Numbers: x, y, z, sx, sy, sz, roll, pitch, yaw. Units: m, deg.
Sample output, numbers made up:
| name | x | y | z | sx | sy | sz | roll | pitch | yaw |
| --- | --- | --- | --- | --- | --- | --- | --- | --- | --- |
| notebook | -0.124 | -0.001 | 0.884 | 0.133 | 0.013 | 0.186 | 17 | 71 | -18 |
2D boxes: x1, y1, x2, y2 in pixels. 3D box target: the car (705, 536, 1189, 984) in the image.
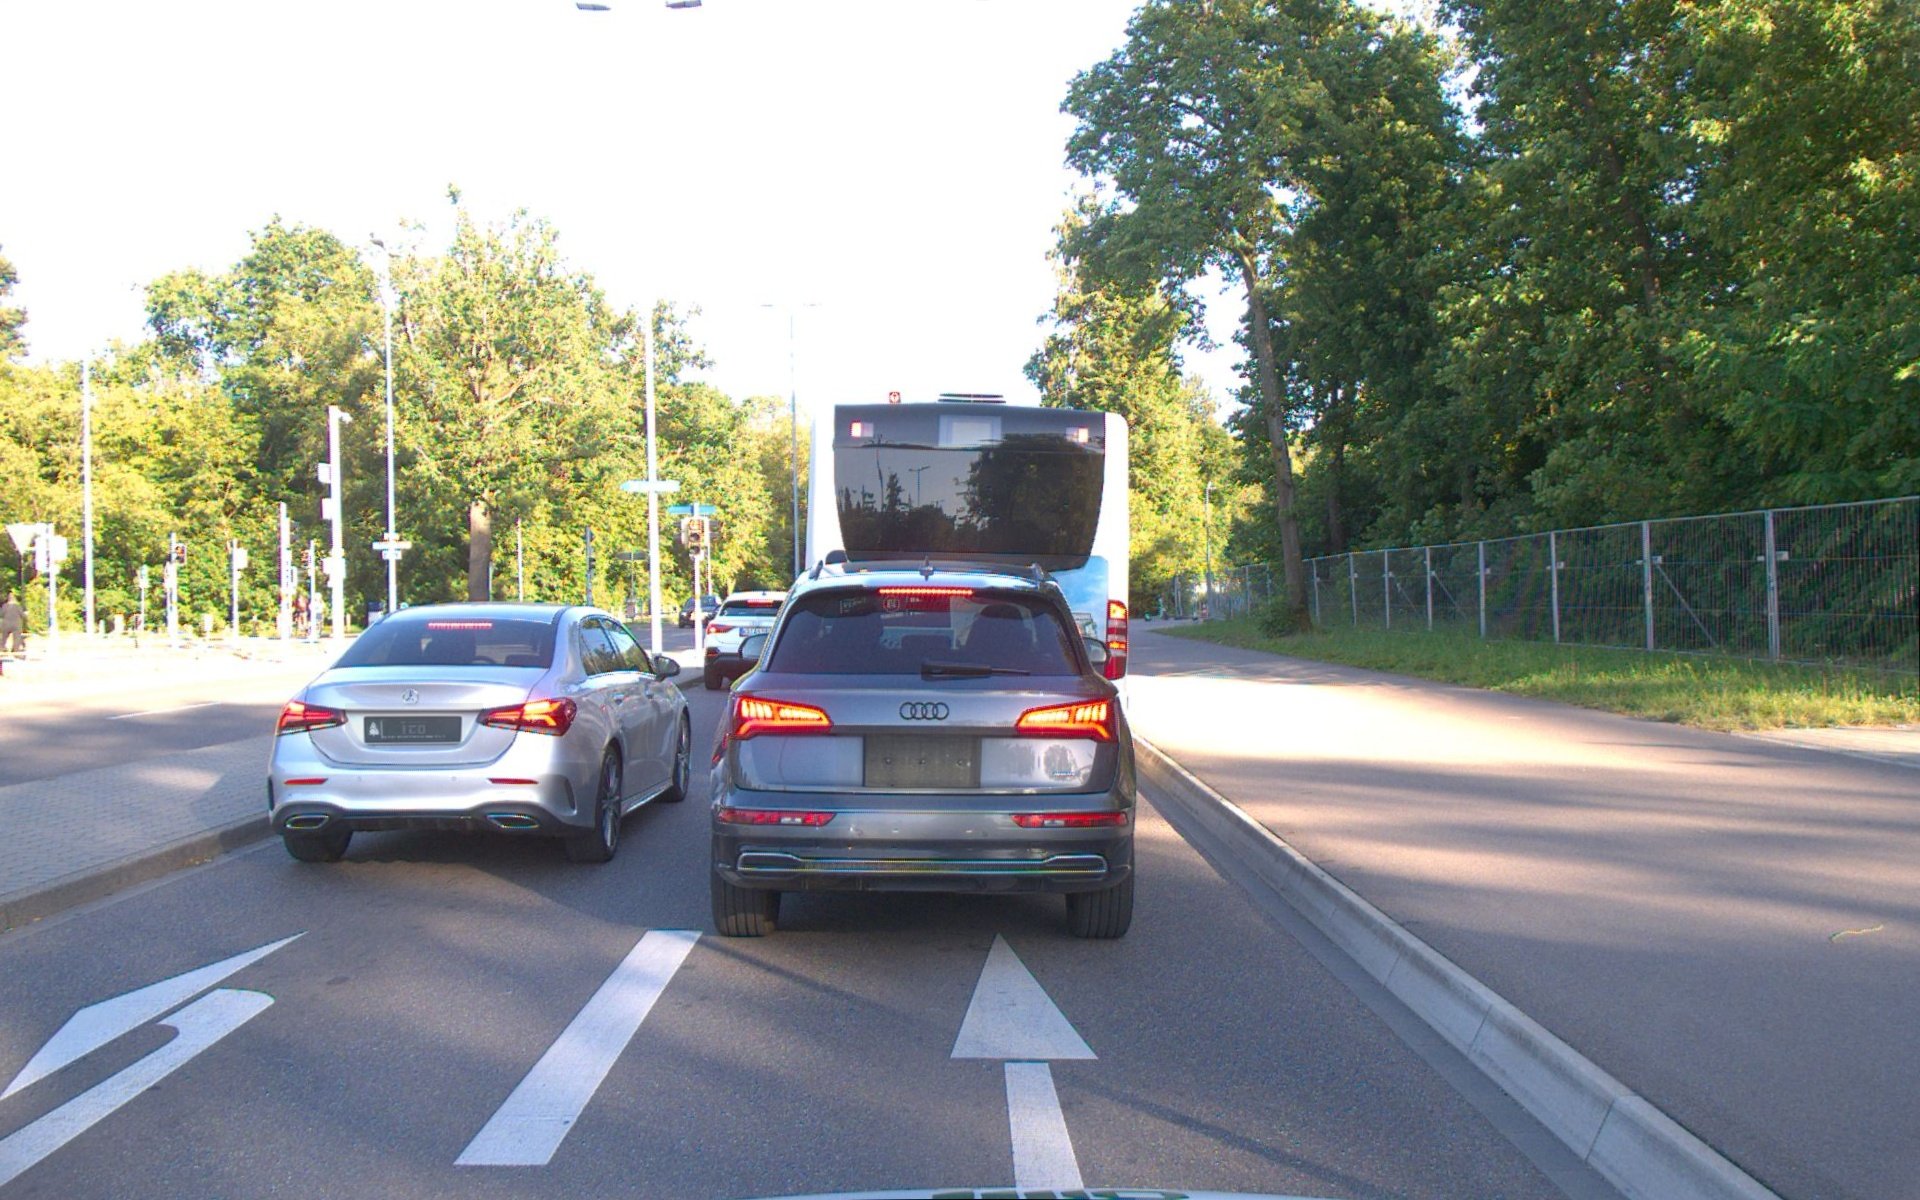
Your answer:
| name | x | y | z | sx | sy | sz | roll | pitch | yaw |
| --- | --- | --- | --- | --- | --- | --- | --- | --- | --- |
| car | -0.075 | 0.590 | 8.341 | 1.830 | 1.693 | 4.000 | 1 | 1 | -1 |

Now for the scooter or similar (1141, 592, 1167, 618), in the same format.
| name | x | y | z | sx | sy | sz | roll | pitch | yaw |
| --- | --- | --- | --- | --- | --- | --- | --- | --- | --- |
| scooter or similar | 9.150 | 0.240 | 78.089 | 1.158 | 1.195 | 0.659 | 1 | 0 | 10 |

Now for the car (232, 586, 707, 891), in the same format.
| name | x | y | z | sx | sy | sz | roll | pitch | yaw |
| --- | --- | --- | --- | --- | --- | --- | --- | --- | --- |
| car | -2.765 | 0.672 | 10.364 | 1.749 | 1.469 | 4.277 | 1 | 1 | -1 |

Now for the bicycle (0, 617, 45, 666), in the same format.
| name | x | y | z | sx | sy | sz | roll | pitch | yaw |
| --- | --- | --- | --- | --- | --- | --- | --- | --- | --- |
| bicycle | -24.139 | 1.040 | 42.220 | 0.458 | 1.198 | 2.003 | 1 | 0 | -1 |

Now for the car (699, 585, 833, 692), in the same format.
| name | x | y | z | sx | sy | sz | roll | pitch | yaw |
| --- | --- | --- | --- | --- | --- | --- | --- | --- | --- |
| car | -3.129 | 0.571 | 27.351 | 1.771 | 1.599 | 4.000 | 1 | 1 | -1 |

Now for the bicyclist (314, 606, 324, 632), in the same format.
| name | x | y | z | sx | sy | sz | roll | pitch | yaw |
| --- | --- | --- | --- | --- | --- | --- | --- | --- | --- |
| bicyclist | -24.704 | 0.731 | 63.752 | 0.268 | 0.979 | 0.240 | 1 | -1 | -9 |

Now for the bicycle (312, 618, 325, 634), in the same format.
| name | x | y | z | sx | sy | sz | roll | pitch | yaw |
| --- | --- | --- | --- | --- | --- | --- | --- | --- | --- |
| bicycle | -24.718 | 0.988 | 63.756 | 0.261 | 0.592 | 0.838 | 1 | 0 | -6 |

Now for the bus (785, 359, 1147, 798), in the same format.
| name | x | y | z | sx | sy | sz | roll | pitch | yaw |
| --- | --- | --- | --- | --- | --- | --- | --- | --- | --- |
| bus | 0.064 | -0.200 | 15.151 | 2.623 | 3.196 | 5.882 | 1 | 1 | 0 |

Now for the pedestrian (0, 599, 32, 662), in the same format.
| name | x | y | z | sx | sy | sz | roll | pitch | yaw |
| --- | --- | --- | --- | --- | --- | --- | --- | --- | --- |
| pedestrian | -24.148 | 0.785 | 42.244 | 0.472 | 1.589 | 0.648 | 1 | -1 | -1 |

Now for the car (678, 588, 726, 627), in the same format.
| name | x | y | z | sx | sy | sz | roll | pitch | yaw |
| --- | --- | --- | --- | --- | --- | --- | --- | --- | --- |
| car | -11.826 | 0.351 | 76.014 | 1.955 | 1.691 | 3.995 | -2 | 0 | -6 |
